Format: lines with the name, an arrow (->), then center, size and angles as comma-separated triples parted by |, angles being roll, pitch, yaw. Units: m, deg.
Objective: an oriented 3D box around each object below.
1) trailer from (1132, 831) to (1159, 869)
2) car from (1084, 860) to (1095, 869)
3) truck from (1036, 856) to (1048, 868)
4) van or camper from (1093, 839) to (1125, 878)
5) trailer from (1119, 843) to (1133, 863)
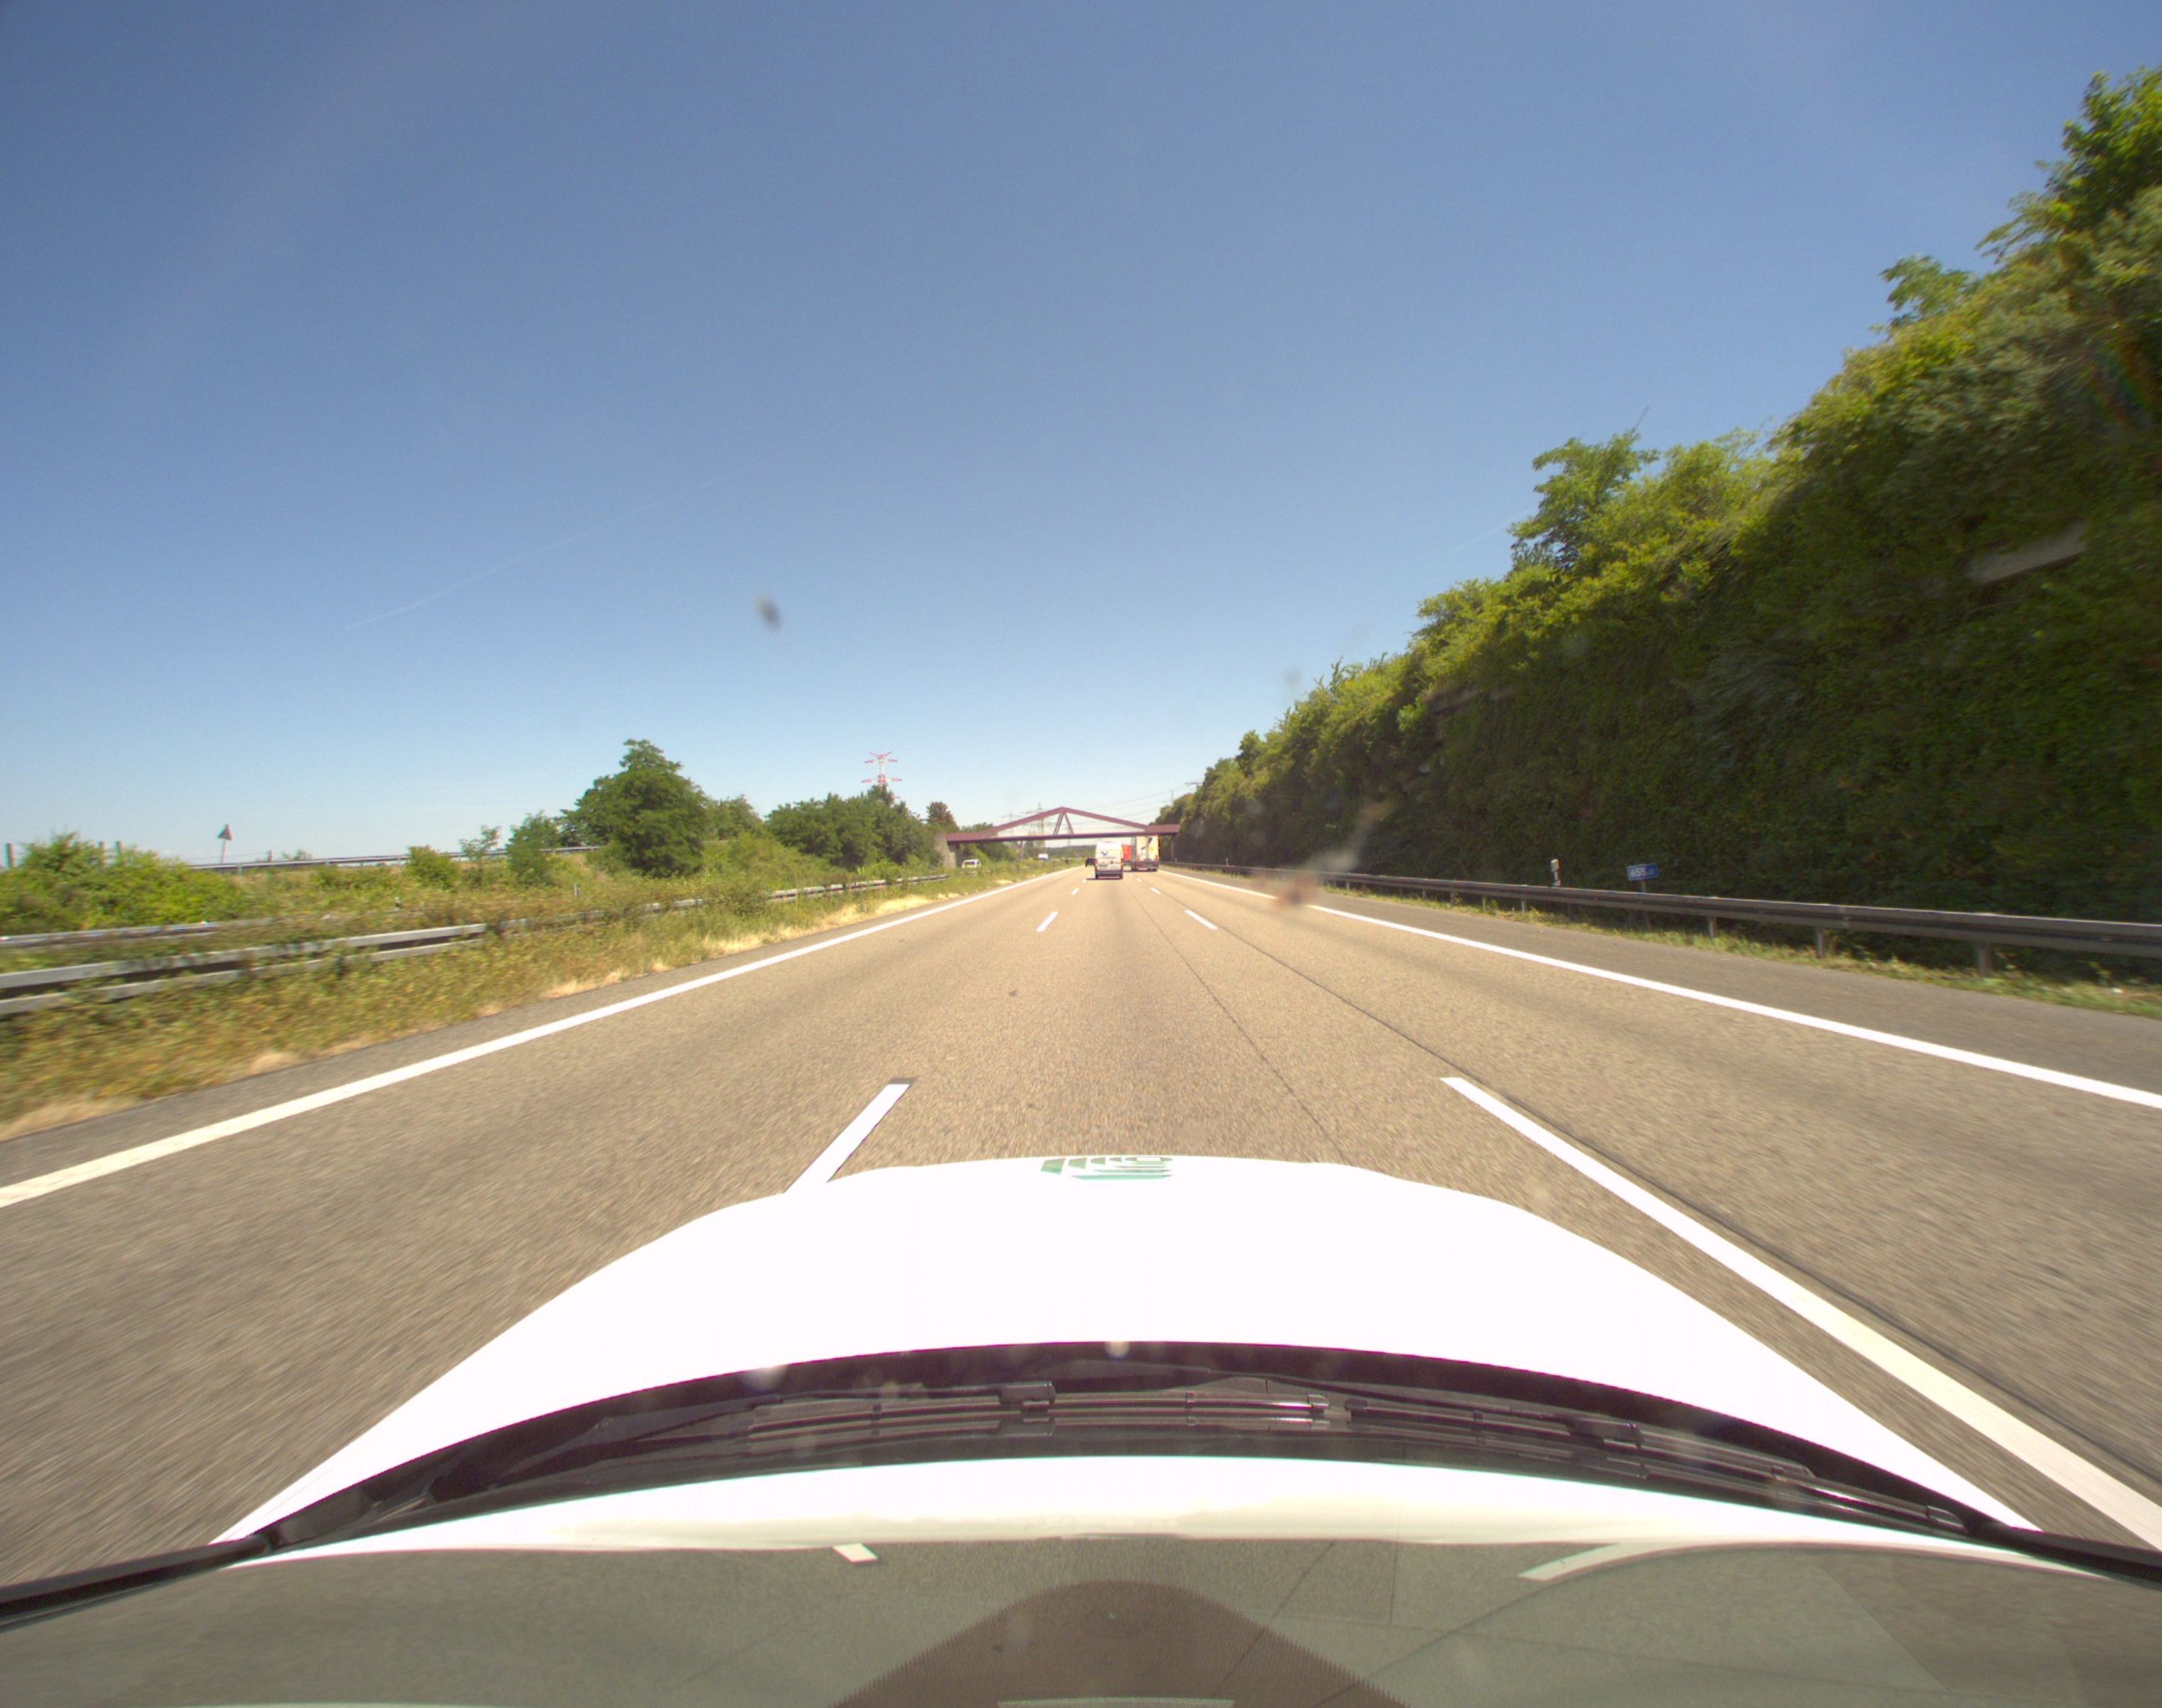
trailer -> 7.291, -0.420, 93.010 | 2.627, 4.060, 12.372 | 0, 0, 2
car -> 1.710, 2.159, 165.028 | 1.974, 1.817, 3.816 | 0, 0, 3
truck -> -12.617, 2.563, 262.573 | 2.798, 3.537, 10.191 | -3, 0, 1
van or camper -> 2.025, 0.318, 60.068 | 2.222, 2.782, 5.424 | 0, 0, 1
trailer -> 8.715, -0.206, 157.149 | 2.627, 3.897, 7.072 | 0, 0, 2
